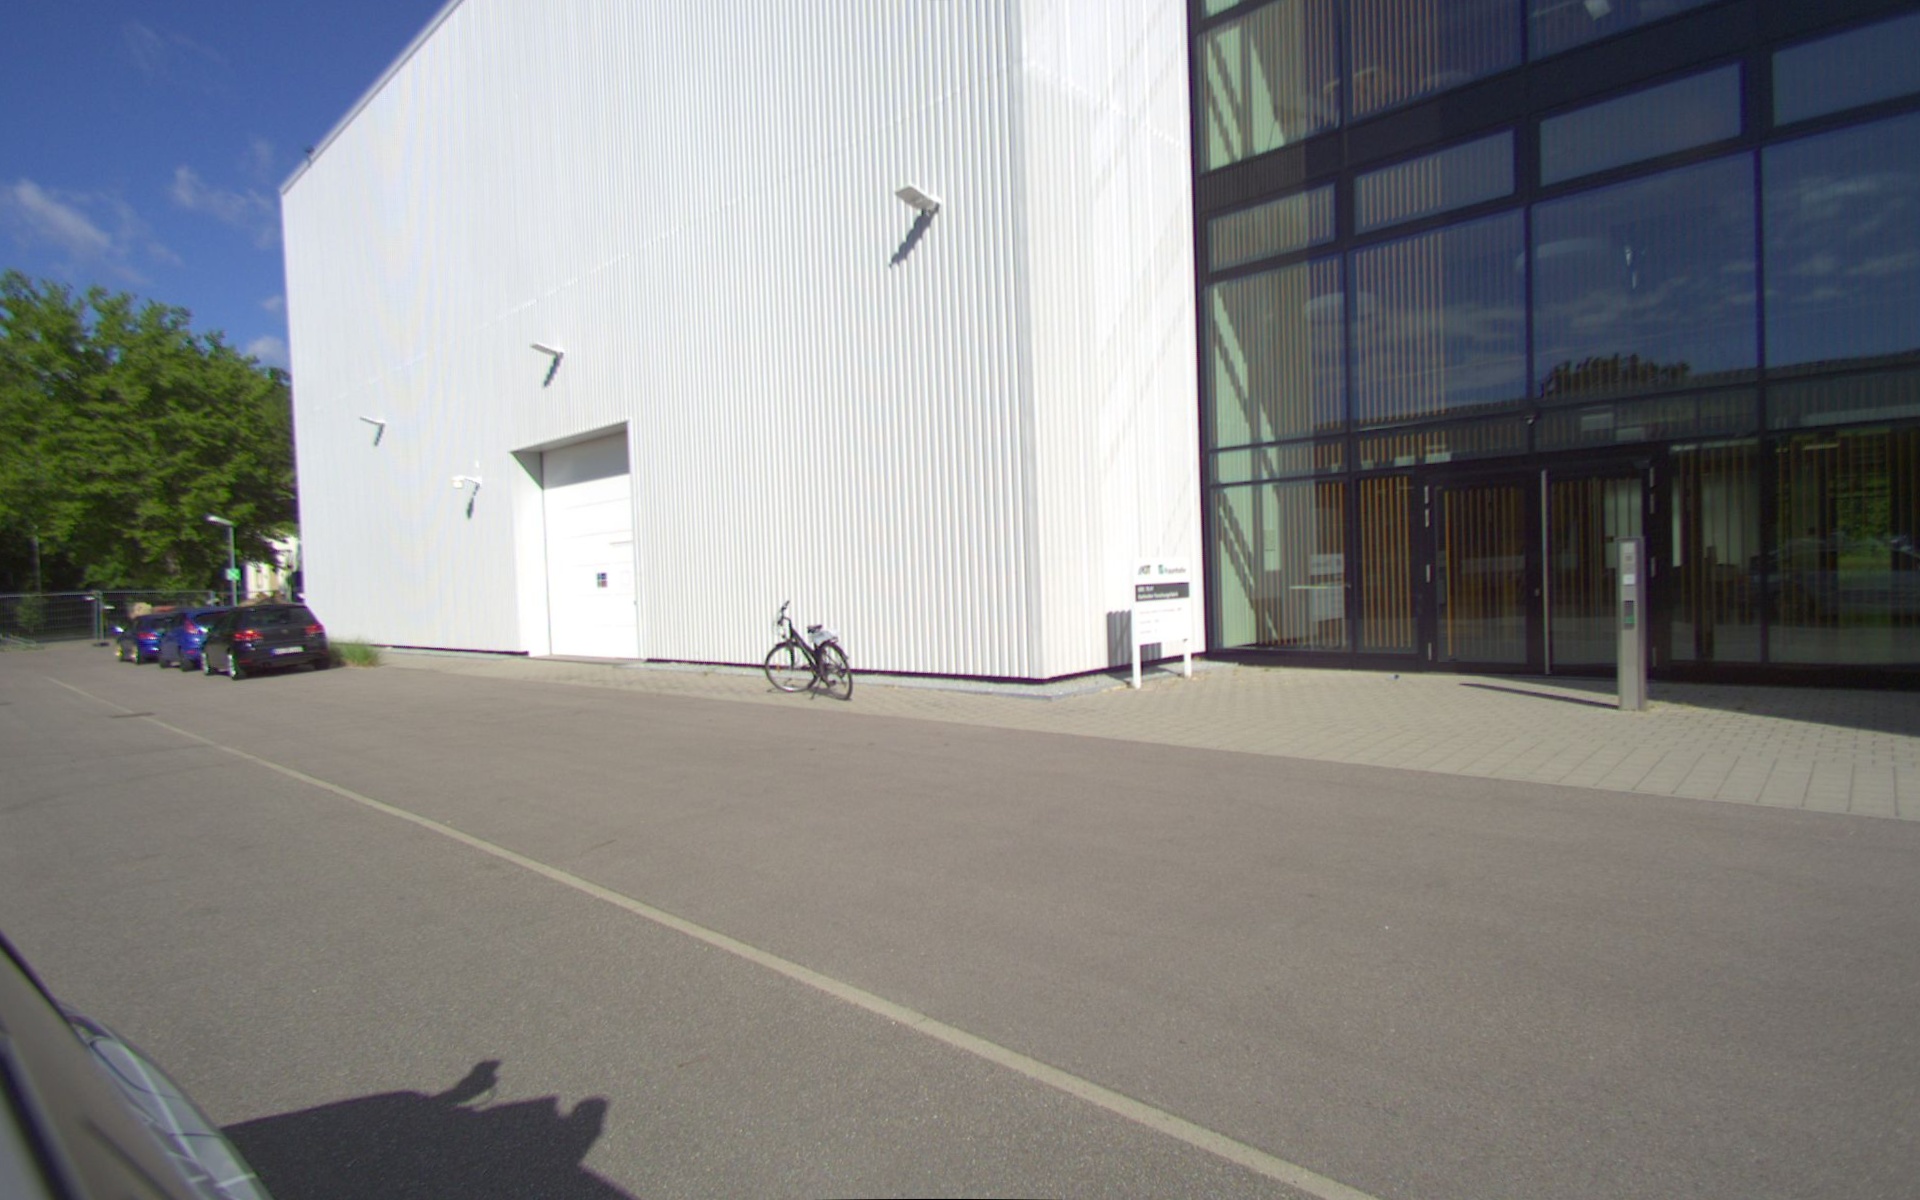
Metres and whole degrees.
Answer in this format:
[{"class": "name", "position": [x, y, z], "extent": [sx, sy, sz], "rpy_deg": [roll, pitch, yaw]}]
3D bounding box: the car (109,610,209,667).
[{"class": "car", "position": [-22.823, 1.053, 28.786], "extent": [4.002, 1.451, 1.765], "rpy_deg": [-1, 0, 45]}]

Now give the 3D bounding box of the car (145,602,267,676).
[{"class": "car", "position": [-18.747, 0.918, 25.093], "extent": [4.002, 1.533, 1.766], "rpy_deg": [-1, 4, 45]}]

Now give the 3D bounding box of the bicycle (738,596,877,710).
[{"class": "bicycle", "position": [-1.873, 0.581, 12.171], "extent": [0.895, 1.151, 1.905], "rpy_deg": [-6, 4, -32]}]

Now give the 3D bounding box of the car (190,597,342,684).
[{"class": "car", "position": [-14.924, 0.807, 21.678], "extent": [4.002, 1.533, 1.870], "rpy_deg": [-1, 4, 45]}]
